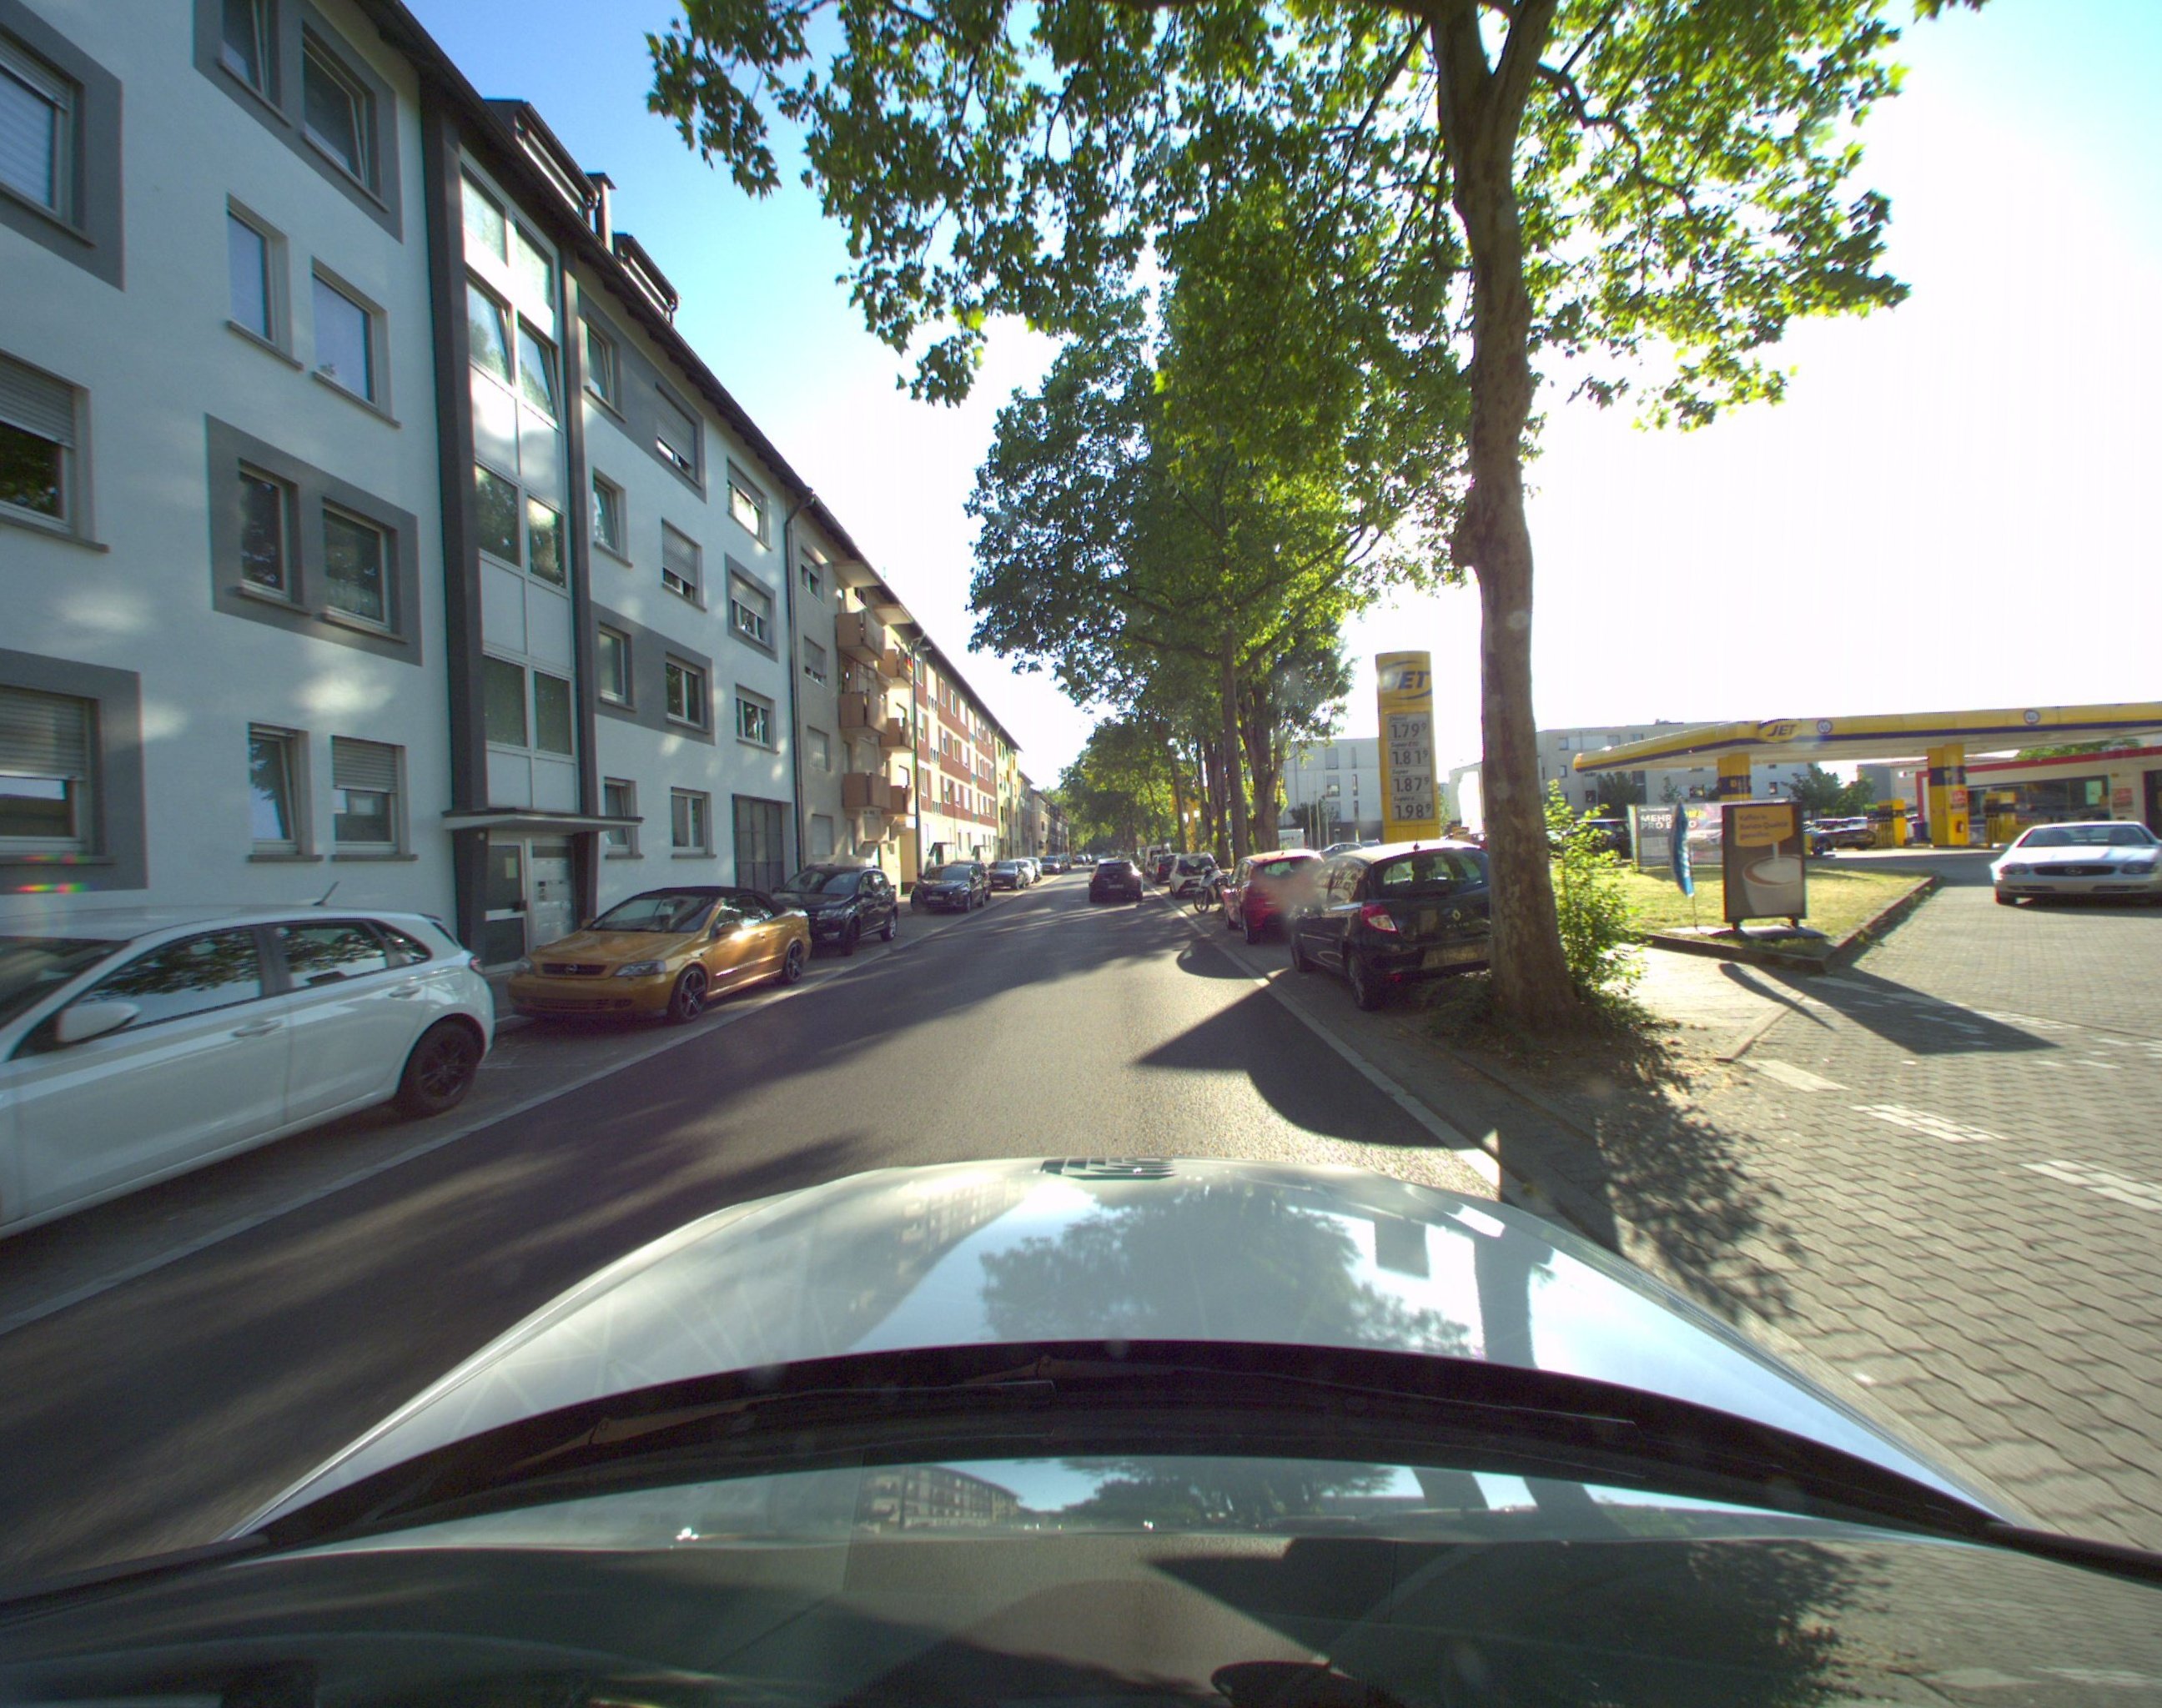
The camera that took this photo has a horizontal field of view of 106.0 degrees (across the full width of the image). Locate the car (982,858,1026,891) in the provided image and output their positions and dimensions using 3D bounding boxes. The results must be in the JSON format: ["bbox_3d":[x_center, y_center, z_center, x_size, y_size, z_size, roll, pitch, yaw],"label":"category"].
[{"bbox_3d":[-3.946,1.038,42.062,1.705,1.562,3.803,1,0,2],"label":"car"}]

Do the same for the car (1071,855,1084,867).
[{"bbox_3d":[-0.616,1.239,137.570,1.900,1.948,4.001,-2,-1,2],"label":"car"}]

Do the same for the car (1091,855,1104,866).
[{"bbox_3d":[2.684,1.074,132.787,1.894,1.661,4.001,-2,-1,2],"label":"car"}]

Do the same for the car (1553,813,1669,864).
[{"bbox_3d":[19.085,-0.571,29.320,3.844,1.588,1.684,-3,0,-25],"label":"car"}]

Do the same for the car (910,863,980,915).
[{"bbox_3d":[-4.304,1.066,26.266,1.708,1.464,3.794,1,0,-3],"label":"car"}]

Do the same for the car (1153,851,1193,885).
[{"bbox_3d":[4.512,0.665,40.180,1.627,1.557,3.602,-1,-1,1],"label":"car"}]

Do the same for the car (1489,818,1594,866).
[{"bbox_3d":[19.066,-0.503,33.699,3.844,1.711,1.826,-3,0,-25],"label":"car"}]

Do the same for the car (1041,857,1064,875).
[{"bbox_3d":[-2.493,1.034,71.694,1.705,1.562,3.803,1,0,2],"label":"car"}]

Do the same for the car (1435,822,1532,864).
[{"bbox_3d":[19.032,-0.517,38.536,3.833,1.711,1.831,-3,0,-16],"label":"car"}]

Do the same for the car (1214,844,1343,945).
[{"bbox_3d":[3.453,0.662,14.859,1.554,1.596,3.602,-1,-1,1],"label":"car"}]

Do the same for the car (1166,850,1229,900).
[{"bbox_3d":[3.946,0.696,28.125,1.715,1.557,3.602,-1,-1,1],"label":"car"}]

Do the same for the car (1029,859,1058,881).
[{"bbox_3d":[-2.714,1.150,59.667,1.705,1.562,3.803,1,0,2],"label":"car"}]

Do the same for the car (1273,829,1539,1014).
[{"bbox_3d":[3.285,0.607,8.971,1.554,1.596,3.602,-1,-1,1],"label":"car"}]

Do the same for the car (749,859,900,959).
[{"bbox_3d":[-4.775,0.945,15.737,1.591,1.630,3.839,-1,0,1],"label":"car"}]

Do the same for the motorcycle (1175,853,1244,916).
[{"bbox_3d":[3.304,0.758,20.908,1.647,1.557,0.608,-1,-1,-20],"label":"motorcycle"}]

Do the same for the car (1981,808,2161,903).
[{"bbox_3d":[16.034,0.025,13.022,3.578,1.323,1.672,-1,-2,-34],"label":"car"}]

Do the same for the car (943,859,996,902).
[{"bbox_3d":[-4.348,0.999,32.283,1.708,1.562,3.794,1,0,-3],"label":"car"}]

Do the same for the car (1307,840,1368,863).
[{"bbox_3d":[19.025,-0.174,60.517,3.973,1.529,1.807,-2,-2,0],"label":"car"}]

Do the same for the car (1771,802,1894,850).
[{"bbox_3d":[34.679,-1.236,37.752,1.986,2.013,4.001,-3,0,1],"label":"car"}]

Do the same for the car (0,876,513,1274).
[{"bbox_3d":[-5.138,0.947,4.200,1.542,1.523,4.005,-1,0,1],"label":"car"}]

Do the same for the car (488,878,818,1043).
[{"bbox_3d":[-4.826,1.100,9.987,1.590,1.434,4.221,-1,0,3],"label":"car"}]

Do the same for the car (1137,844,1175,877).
[{"bbox_3d":[4.888,0.440,53.411,1.988,2.014,3.998,-2,-1,-1],"label":"car"}]

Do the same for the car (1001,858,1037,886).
[{"bbox_3d":[-3.773,1.077,50.125,1.705,1.562,3.803,1,0,2],"label":"car"}]

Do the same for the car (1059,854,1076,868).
[{"bbox_3d":[-1.506,0.776,92.981,1.705,1.562,3.803,1,0,2],"label":"car"}]

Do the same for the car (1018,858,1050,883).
[{"bbox_3d":[-3.131,1.072,54.661,1.705,1.562,3.803,1,0,2],"label":"car"}]

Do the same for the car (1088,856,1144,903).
[{"bbox_3d":[1.273,0.834,28.310,1.736,1.443,3.975,-1,0,5],"label":"car"}]
